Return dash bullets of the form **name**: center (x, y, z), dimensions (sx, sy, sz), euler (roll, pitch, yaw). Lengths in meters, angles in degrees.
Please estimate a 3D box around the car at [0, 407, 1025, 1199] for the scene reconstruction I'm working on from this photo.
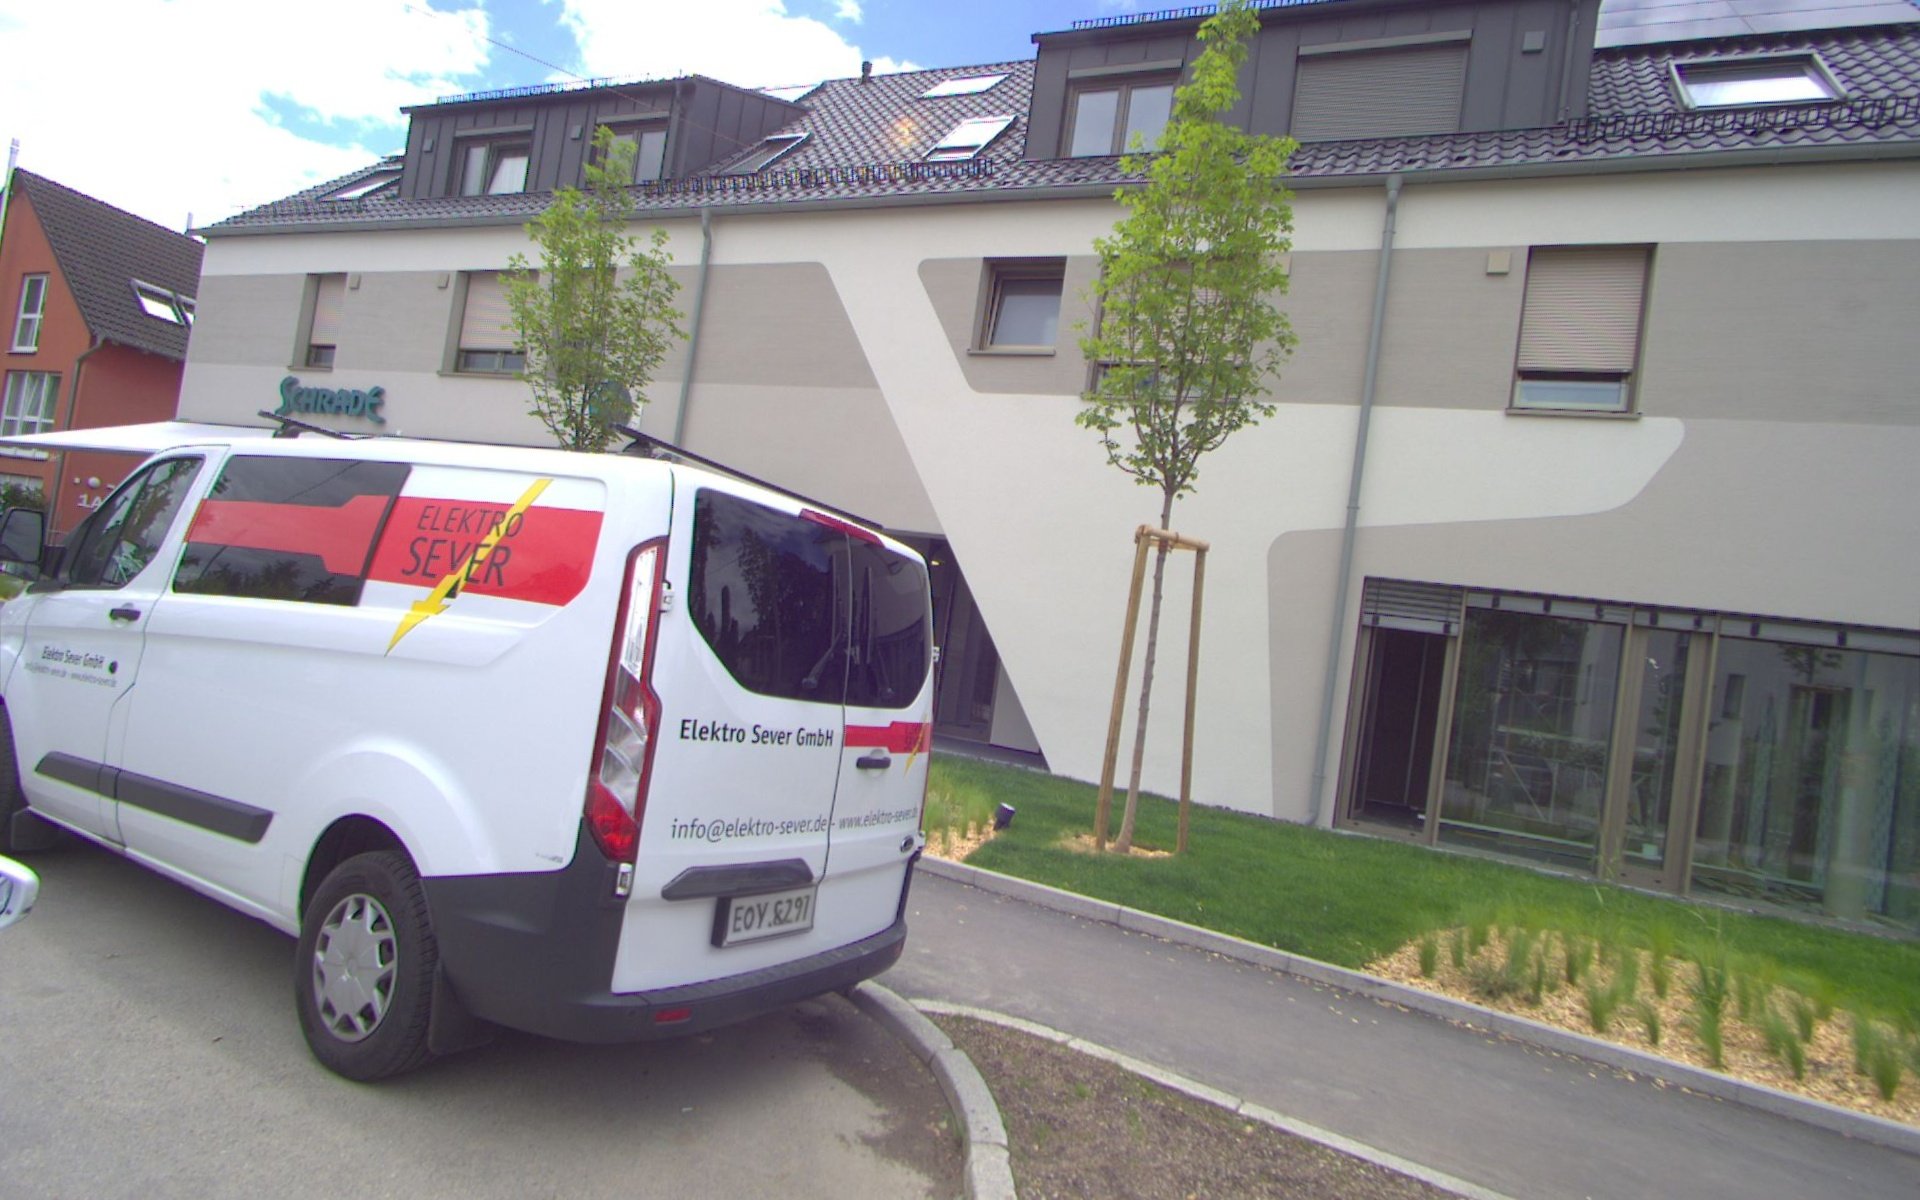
- **car**: center (-2.412, 0.404, 4.471), dimensions (4.818, 1.935, 1.966), euler (6, -5, 29)

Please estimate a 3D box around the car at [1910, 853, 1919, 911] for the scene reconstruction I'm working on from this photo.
- **car**: center (27.190, 7.795, 26.536), dimensions (1.631, 1.559, 3.904), euler (7, -5, 21)

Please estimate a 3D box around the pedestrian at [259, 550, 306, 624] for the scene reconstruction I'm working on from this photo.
- **pedestrian**: center (-11.609, -0.213, 17.242), dimensions (0.318, 1.195, 0.422), euler (7, -2, 28)
